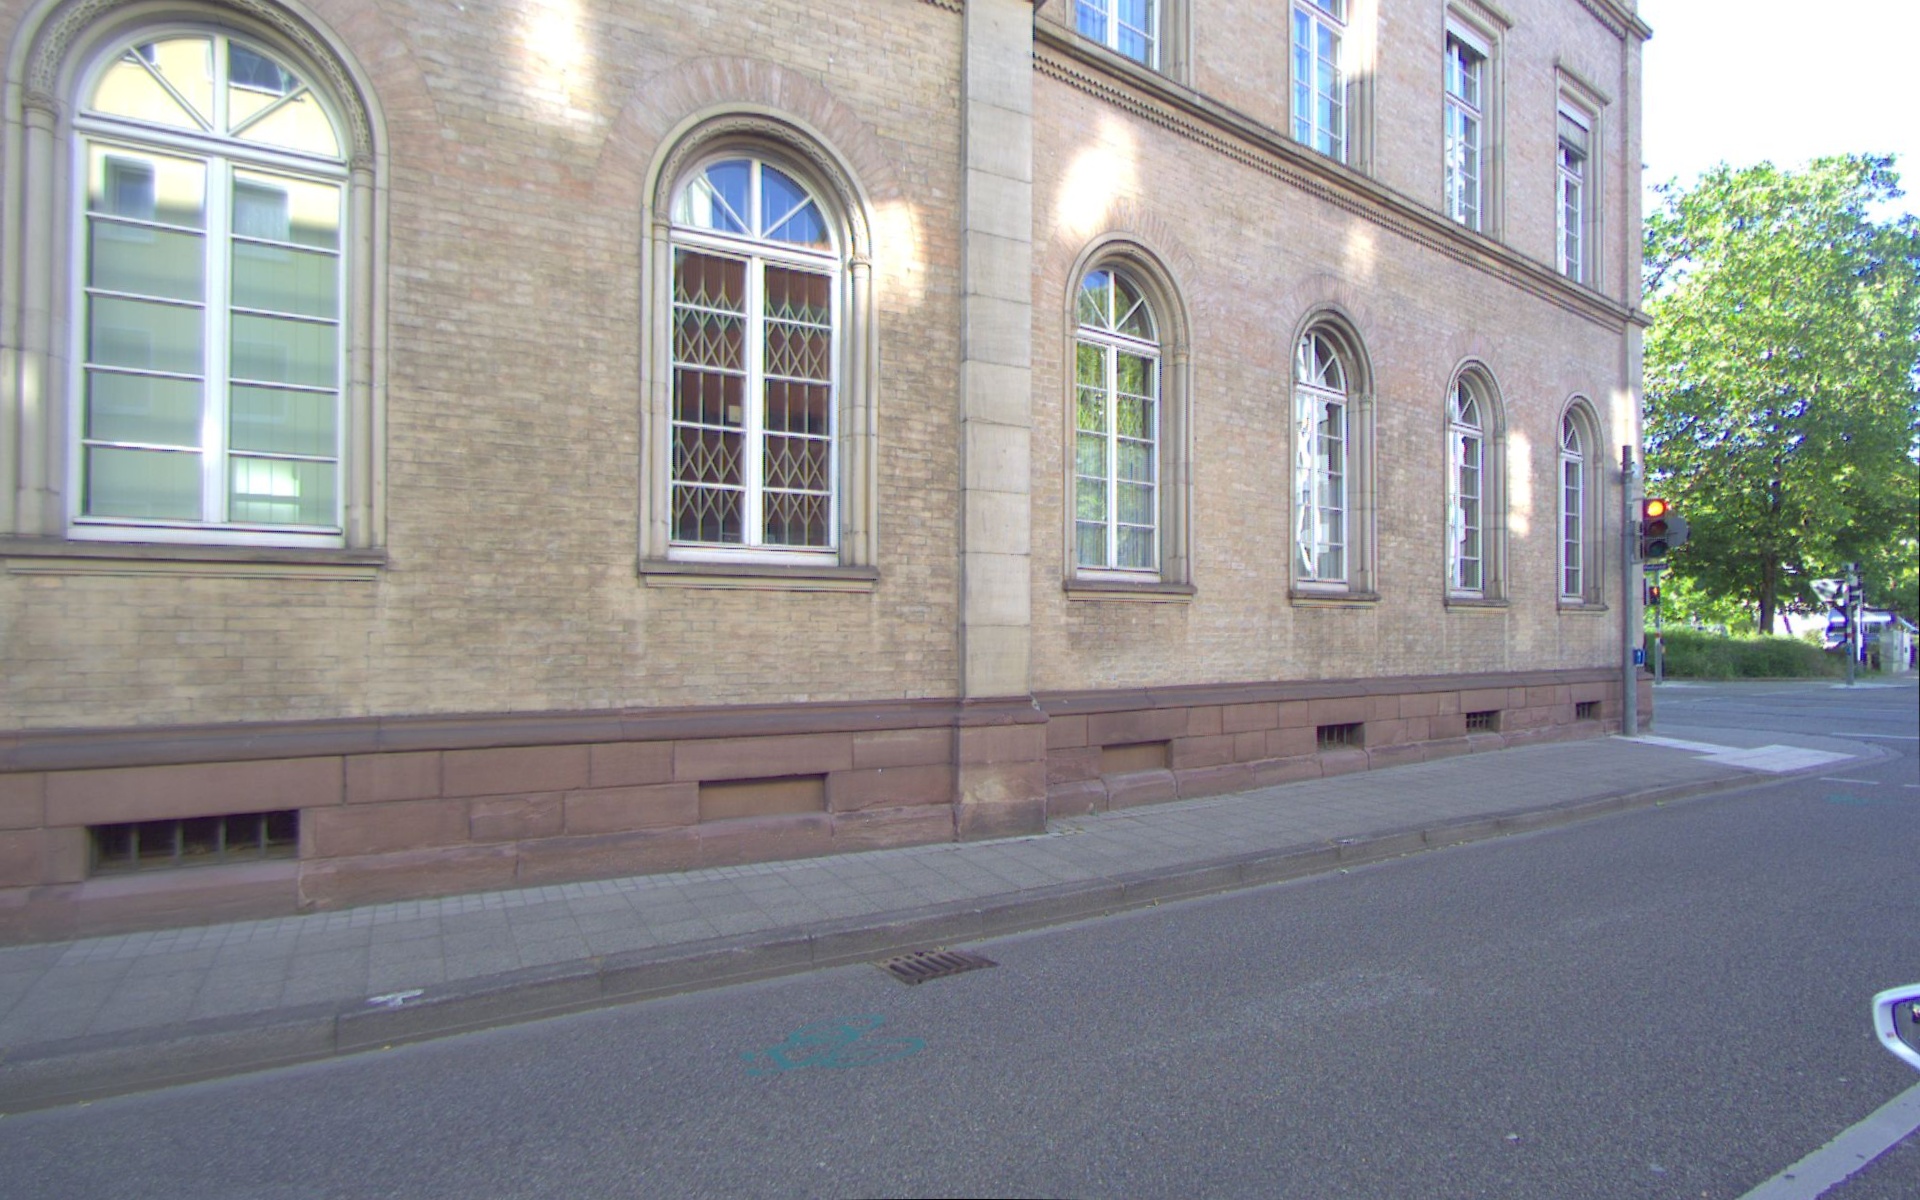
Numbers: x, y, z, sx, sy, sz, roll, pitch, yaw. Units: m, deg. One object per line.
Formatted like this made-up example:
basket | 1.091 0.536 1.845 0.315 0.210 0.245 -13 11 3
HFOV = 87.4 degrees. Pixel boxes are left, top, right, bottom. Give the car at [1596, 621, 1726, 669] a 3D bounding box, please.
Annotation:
car | 24.389 1.525 35.031 1.636 1.476 3.382 2 0 -39

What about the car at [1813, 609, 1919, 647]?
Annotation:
car | 53.510 1.621 59.393 1.983 2.040 4.409 2 0 -38
